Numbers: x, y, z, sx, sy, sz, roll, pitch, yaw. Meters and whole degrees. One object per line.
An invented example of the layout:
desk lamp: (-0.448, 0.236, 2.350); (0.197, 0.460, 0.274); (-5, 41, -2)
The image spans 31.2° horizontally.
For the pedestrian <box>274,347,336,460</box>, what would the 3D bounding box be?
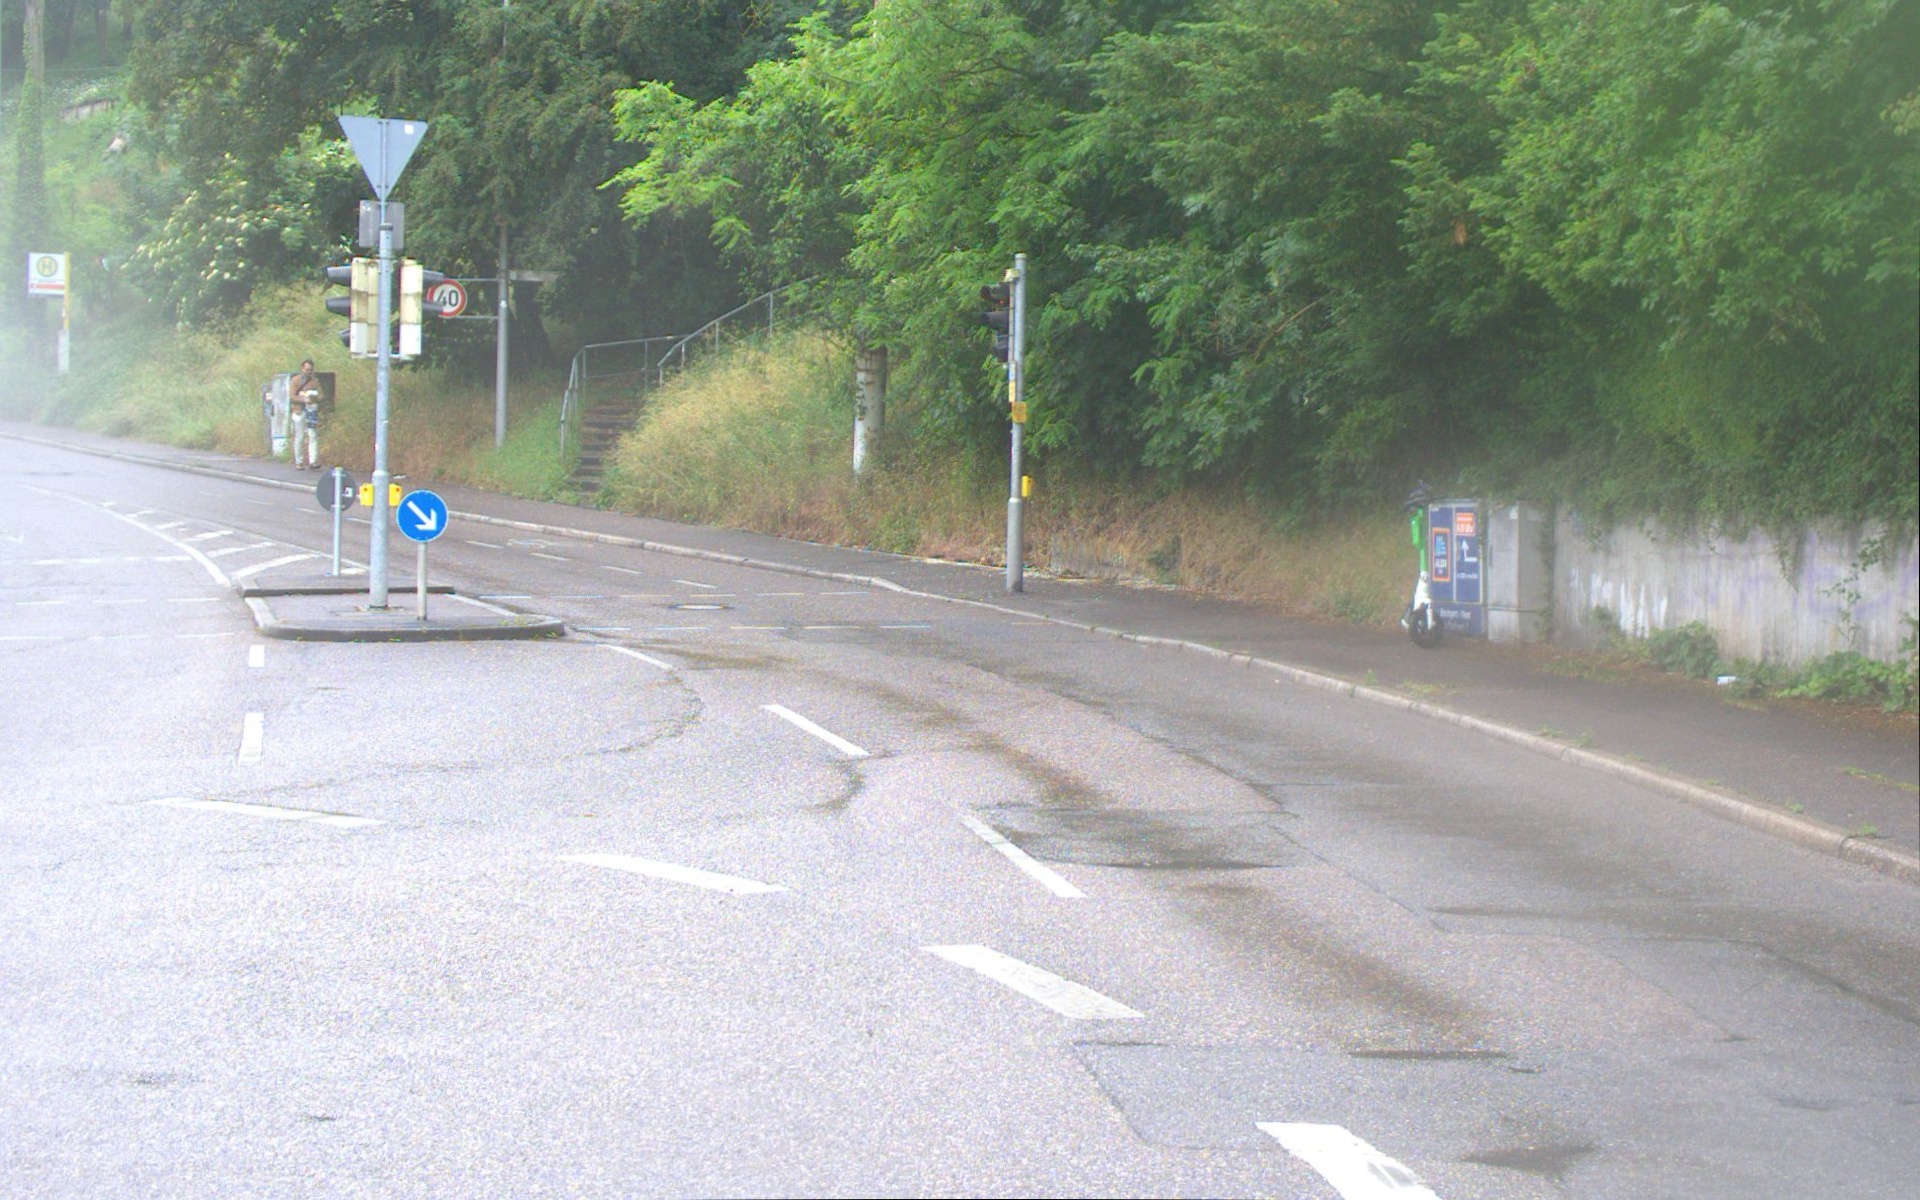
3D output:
pedestrian: (-10.453, -3.129, 54.854); (0.880, 1.730, 0.866); (0, 0, -17)

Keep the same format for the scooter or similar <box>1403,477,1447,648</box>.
scooter or similar: (3.579, -0.295, 26.478); (0.322, 1.275, 0.751); (0, 4, 7)
